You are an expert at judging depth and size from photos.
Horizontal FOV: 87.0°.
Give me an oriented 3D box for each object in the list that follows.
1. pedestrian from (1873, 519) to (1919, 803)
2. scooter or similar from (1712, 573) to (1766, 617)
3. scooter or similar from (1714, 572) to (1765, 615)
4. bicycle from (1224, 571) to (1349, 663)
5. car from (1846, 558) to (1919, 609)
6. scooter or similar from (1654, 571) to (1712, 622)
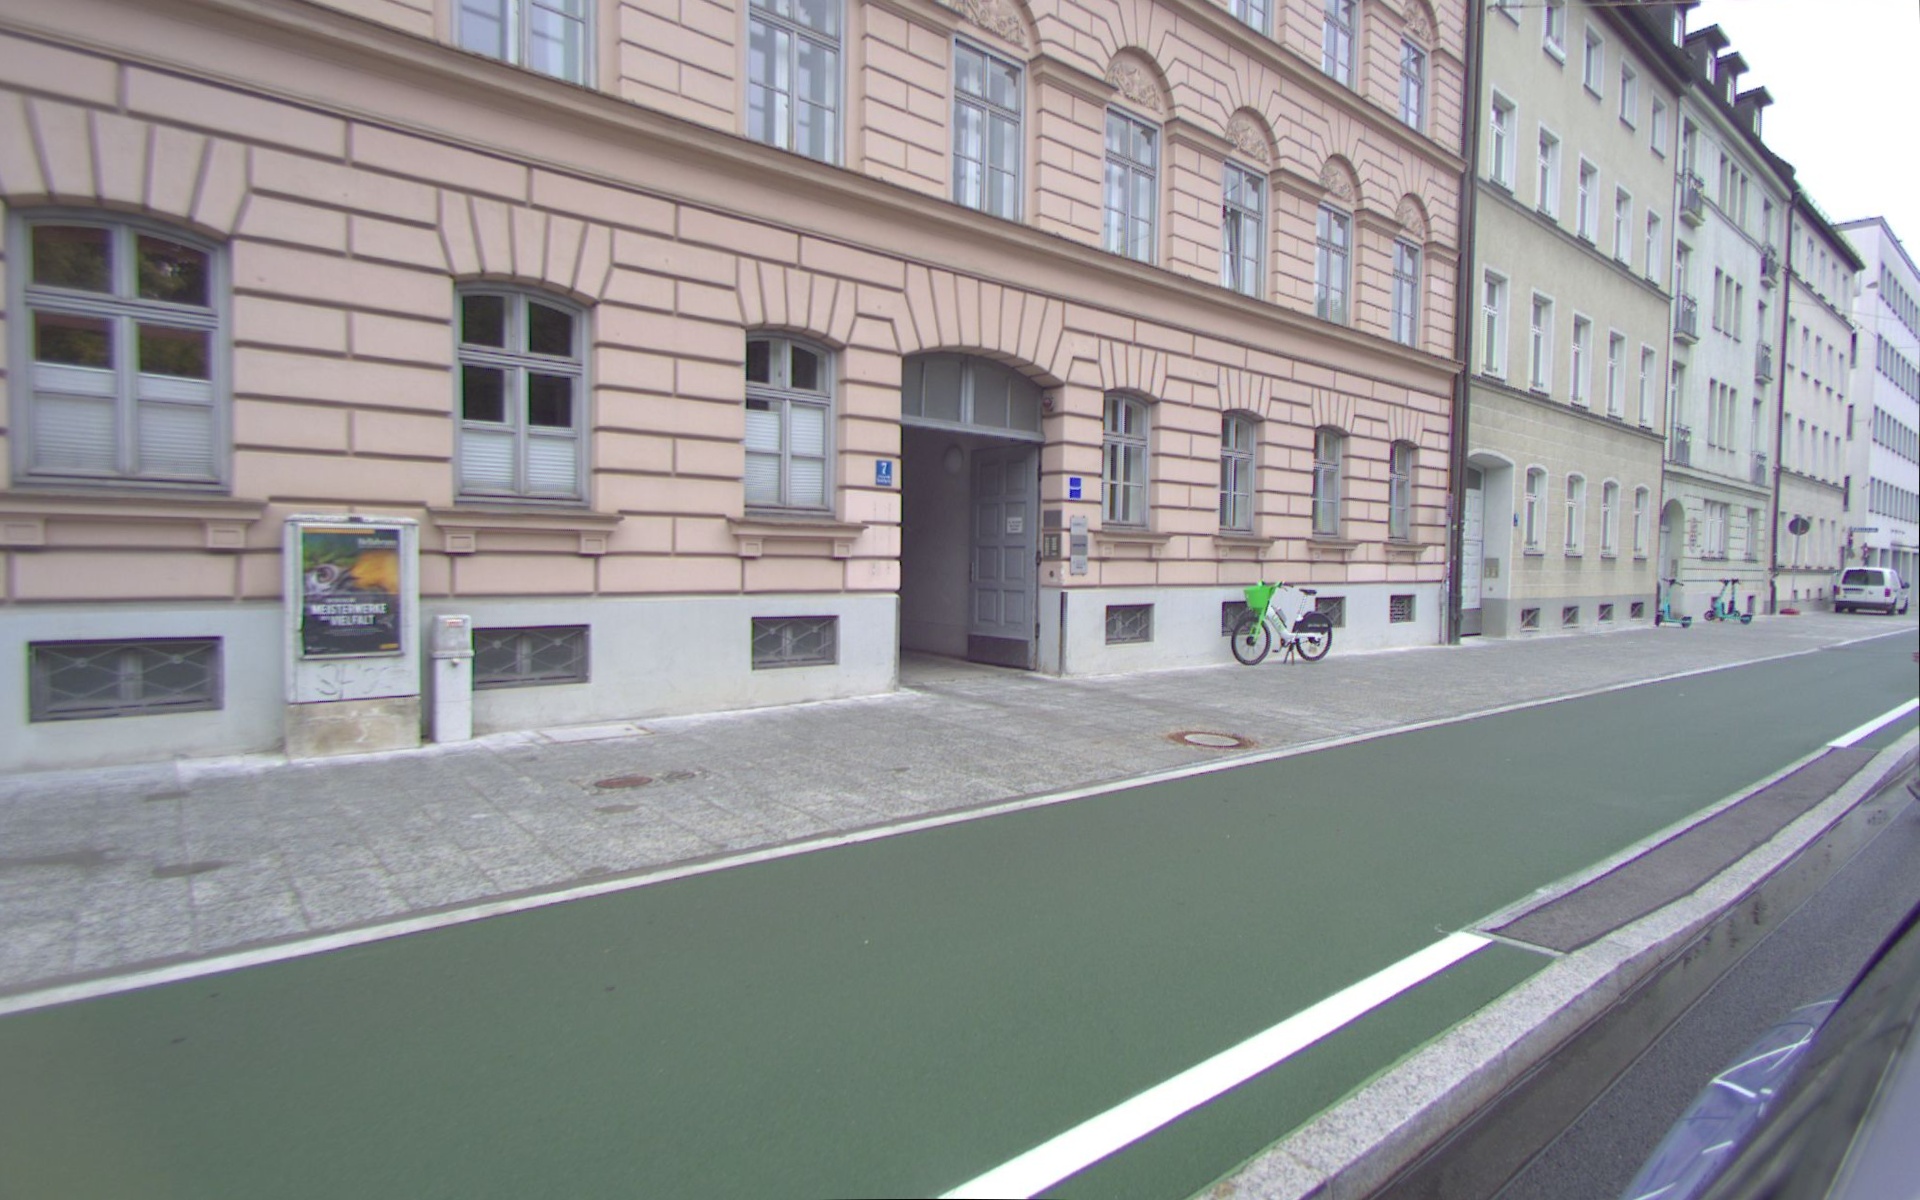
[{"bbox_3d":[6.657,0.407,6.393,0.975,1.825,0.814,2,0,3],"label":"pedestrian"},{"bbox_3d":[22.114,-0.156,28.749,1.064,1.206,0.451,2,2,21],"label":"scooter or similar"},{"bbox_3d":[22.940,-0.192,29.809,1.060,1.206,0.436,2,2,11],"label":"scooter or similar"},{"bbox_3d":[4.513,0.218,13.964,1.690,1.191,0.558,0,3,-26],"label":"bicycle"},{"bbox_3d":[36.040,-0.684,39.394,3.930,1.854,1.765,-1,3,-41],"label":"car"},{"bbox_3d":[18.442,-0.098,25.826,1.055,1.260,0.554,1,2,-5],"label":"scooter or similar"}]
